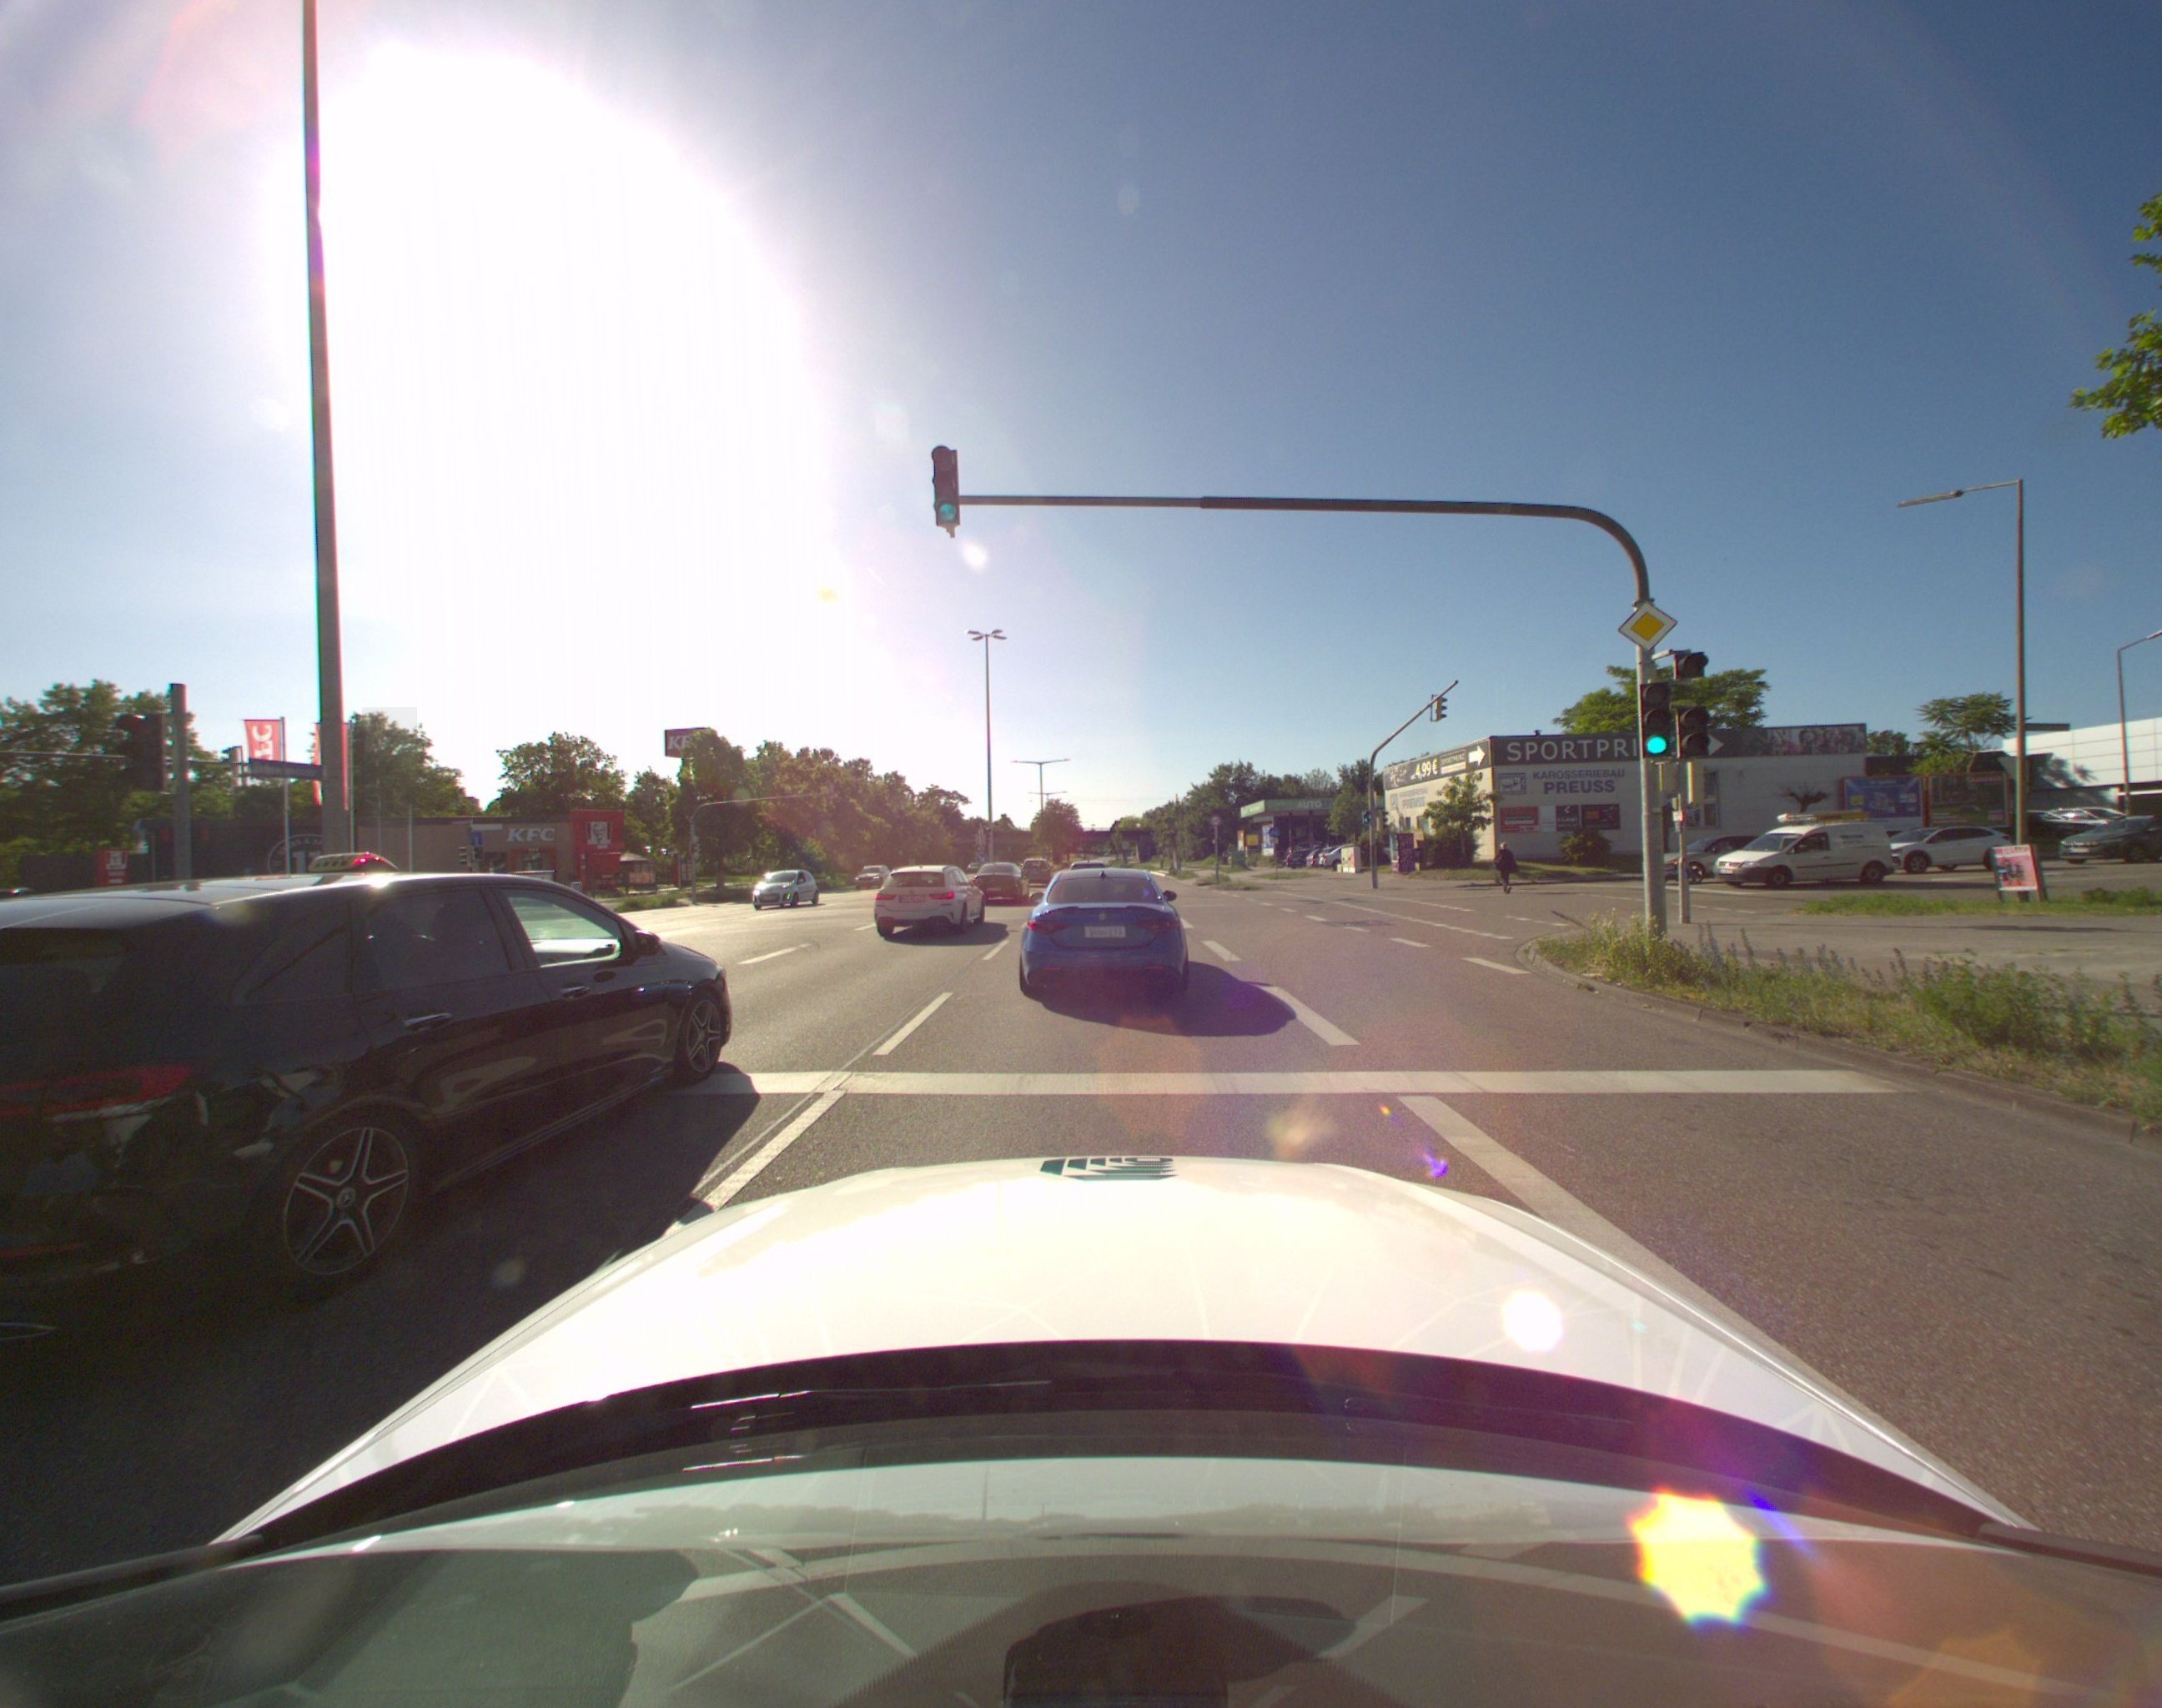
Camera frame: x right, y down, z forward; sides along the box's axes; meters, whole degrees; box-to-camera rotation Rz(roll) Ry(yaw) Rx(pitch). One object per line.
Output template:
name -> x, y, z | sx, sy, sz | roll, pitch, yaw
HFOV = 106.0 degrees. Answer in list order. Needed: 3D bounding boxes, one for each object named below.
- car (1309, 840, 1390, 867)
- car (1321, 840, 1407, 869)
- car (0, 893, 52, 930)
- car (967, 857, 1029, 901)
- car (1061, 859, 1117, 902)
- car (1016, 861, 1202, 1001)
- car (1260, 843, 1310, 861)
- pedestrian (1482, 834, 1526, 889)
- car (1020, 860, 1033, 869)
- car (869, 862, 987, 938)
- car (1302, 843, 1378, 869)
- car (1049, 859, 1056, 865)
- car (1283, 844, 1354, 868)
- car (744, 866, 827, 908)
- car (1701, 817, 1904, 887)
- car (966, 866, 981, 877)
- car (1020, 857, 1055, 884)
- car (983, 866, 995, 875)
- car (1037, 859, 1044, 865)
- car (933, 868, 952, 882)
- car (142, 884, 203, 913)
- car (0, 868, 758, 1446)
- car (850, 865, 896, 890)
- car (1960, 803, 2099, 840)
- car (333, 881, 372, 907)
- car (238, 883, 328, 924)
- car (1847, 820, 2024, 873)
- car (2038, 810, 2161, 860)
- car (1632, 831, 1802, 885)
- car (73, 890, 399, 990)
car -> 16.954, -0.014, 51.549 | 4.470, 1.454, 1.859 | -4, -1, 3
car -> 16.927, 0.036, 48.830 | 4.470, 1.454, 1.859 | -4, -1, 3
car -> -52.880, 2.819, 40.317 | 1.670, 1.673, 3.897 | 1, -1, -41
car -> -2.978, 0.902, 30.152 | 1.791, 1.490, 4.475 | 0, -1, 0
car -> 0.290, 0.902, 28.906 | 1.844, 1.418, 4.403 | 0, -1, 0
car -> 0.308, 0.817, 10.524 | 1.889, 1.418, 4.403 | 0, -1, 0
car -> 20.368, -0.170, 81.493 | 4.532, 1.490, 1.766 | -4, -1, 3
pedestrian -> 13.705, 0.247, 26.391 | 0.922, 1.735, 0.939 | 0, -1, 1
car -> -9.306, 1.822, 138.559 | 1.752, 1.490, 4.480 | -3, -1, 2
car -> -3.269, 0.941, 18.276 | 1.779, 1.490, 4.403 | 0, -1, 0
car -> 17.281, 0.127, 54.505 | 4.470, 1.454, 1.859 | -4, -1, 3
car -> -8.099, 2.376, 232.427 | 1.565, 1.618, 4.001 | 0, -1, 1
car -> 16.955, 0.143, 58.308 | 4.470, 1.454, 1.859 | -4, -1, 3
car -> -11.773, 1.279, 32.728 | 1.752, 1.490, 3.838 | -3, -1, 2
car -> 21.005, -0.073, 23.813 | 4.367, 1.801, 1.765 | -3, 1, 0
car -> -15.875, 2.602, 120.322 | 1.603, 1.647, 3.463 | 0, -1, 1
car -> -2.457, 0.953, 47.027 | 1.753, 1.490, 4.403 | 0, -1, 0
car -> -16.054, 2.909, 142.392 | 1.603, 1.647, 3.463 | 0, -1, 1
car -> -10.562, 2.114, 214.542 | 1.565, 1.618, 4.001 | 0, -1, 1
car -> -16.796, 2.531, 98.963 | 1.610, 1.559, 3.358 | 0, -1, 1
car -> -49.150, 2.375, 44.112 | 1.670, 1.471, 3.871 | 1, -1, -41
car -> -3.460, 0.839, 4.315 | 1.754, 1.490, 4.401 | -1, -1, -1
car -> -15.017, 1.659, 58.995 | 1.981, 1.629, 4.480 | -3, -1, 2
car -> 46.446, -1.556, 40.061 | 1.750, 1.490, 4.573 | -4, -1, 6
car -> -43.910, 2.386, 49.146 | 1.670, 1.471, 3.871 | 1, -1, -41
car -> -38.050, 2.292, 38.978 | 2.006, 1.765, 4.315 | 0, -1, -29
car -> 28.471, -0.242, 27.235 | 4.029, 1.490, 1.782 | -3, -1, -1
car -> 35.374, -0.670, 27.204 | 4.532, 1.490, 1.766 | -4, -1, 3
car -> 21.120, 0.099, 27.146 | 4.273, 1.549, 1.765 | -3, 1, 0
car -> -16.624, 1.601, 16.442 | 1.752, 1.490, 4.480 | -3, -1, 2
